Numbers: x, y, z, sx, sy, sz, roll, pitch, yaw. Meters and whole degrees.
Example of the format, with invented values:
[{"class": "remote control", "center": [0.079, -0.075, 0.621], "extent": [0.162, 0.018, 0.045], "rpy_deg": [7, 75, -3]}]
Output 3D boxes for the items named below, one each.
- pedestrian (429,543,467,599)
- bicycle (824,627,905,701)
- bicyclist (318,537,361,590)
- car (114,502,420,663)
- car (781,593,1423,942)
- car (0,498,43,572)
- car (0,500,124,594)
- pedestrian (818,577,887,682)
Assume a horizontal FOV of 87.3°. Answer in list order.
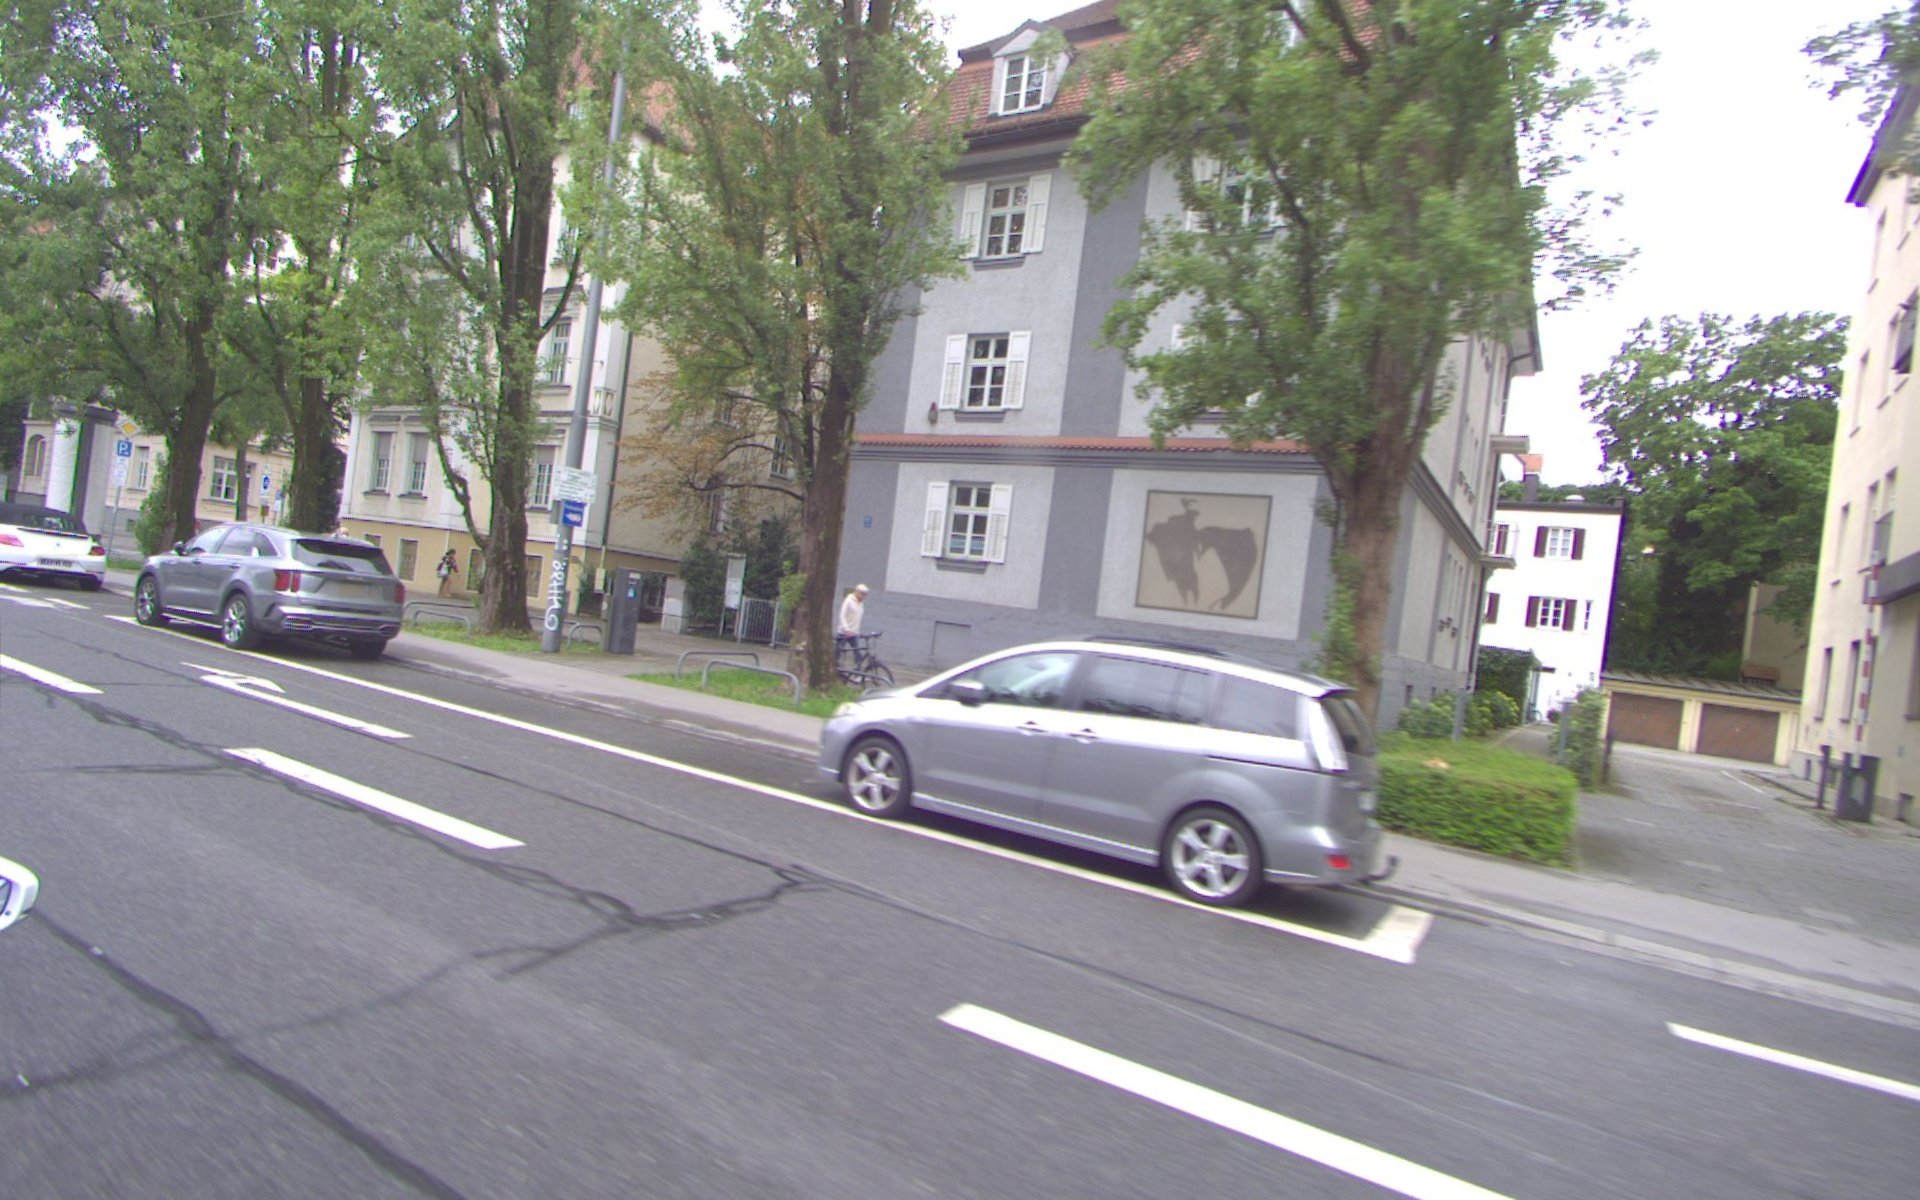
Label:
[{"class": "pedestrian", "center": [-15.604, -0.876, 30.660], "extent": [0.726, 1.566, 0.553], "rpy_deg": [9, 1, 30]}, {"class": "bicycle", "center": [-1.556, 1.028, 16.279], "extent": [1.208, 1.000, 0.355], "rpy_deg": [9, 1, 32]}, {"class": "bicyclist", "center": [-17.284, -1.015, 28.026], "extent": [0.694, 1.331, 0.661], "rpy_deg": [7, 0, 30]}, {"class": "car", "center": [-10.202, -0.285, 14.718], "extent": [4.621, 1.764, 1.802], "rpy_deg": [7, 0, 31]}, {"class": "car", "center": [0.989, 1.050, 7.845], "extent": [4.470, 1.632, 1.802], "rpy_deg": [7, 0, 31]}, {"class": "car", "center": [-22.767, -1.669, 22.582], "extent": [4.373, 1.526, 1.803], "rpy_deg": [7, -1, 29]}, {"class": "car", "center": [-18.554, -1.143, 19.947], "extent": [3.934, 1.526, 1.802], "rpy_deg": [7, -1, 32]}, {"class": "pedestrian", "center": [-1.941, 0.532, 18.173], "extent": [0.810, 1.759, 0.592], "rpy_deg": [9, 1, 32]}]
